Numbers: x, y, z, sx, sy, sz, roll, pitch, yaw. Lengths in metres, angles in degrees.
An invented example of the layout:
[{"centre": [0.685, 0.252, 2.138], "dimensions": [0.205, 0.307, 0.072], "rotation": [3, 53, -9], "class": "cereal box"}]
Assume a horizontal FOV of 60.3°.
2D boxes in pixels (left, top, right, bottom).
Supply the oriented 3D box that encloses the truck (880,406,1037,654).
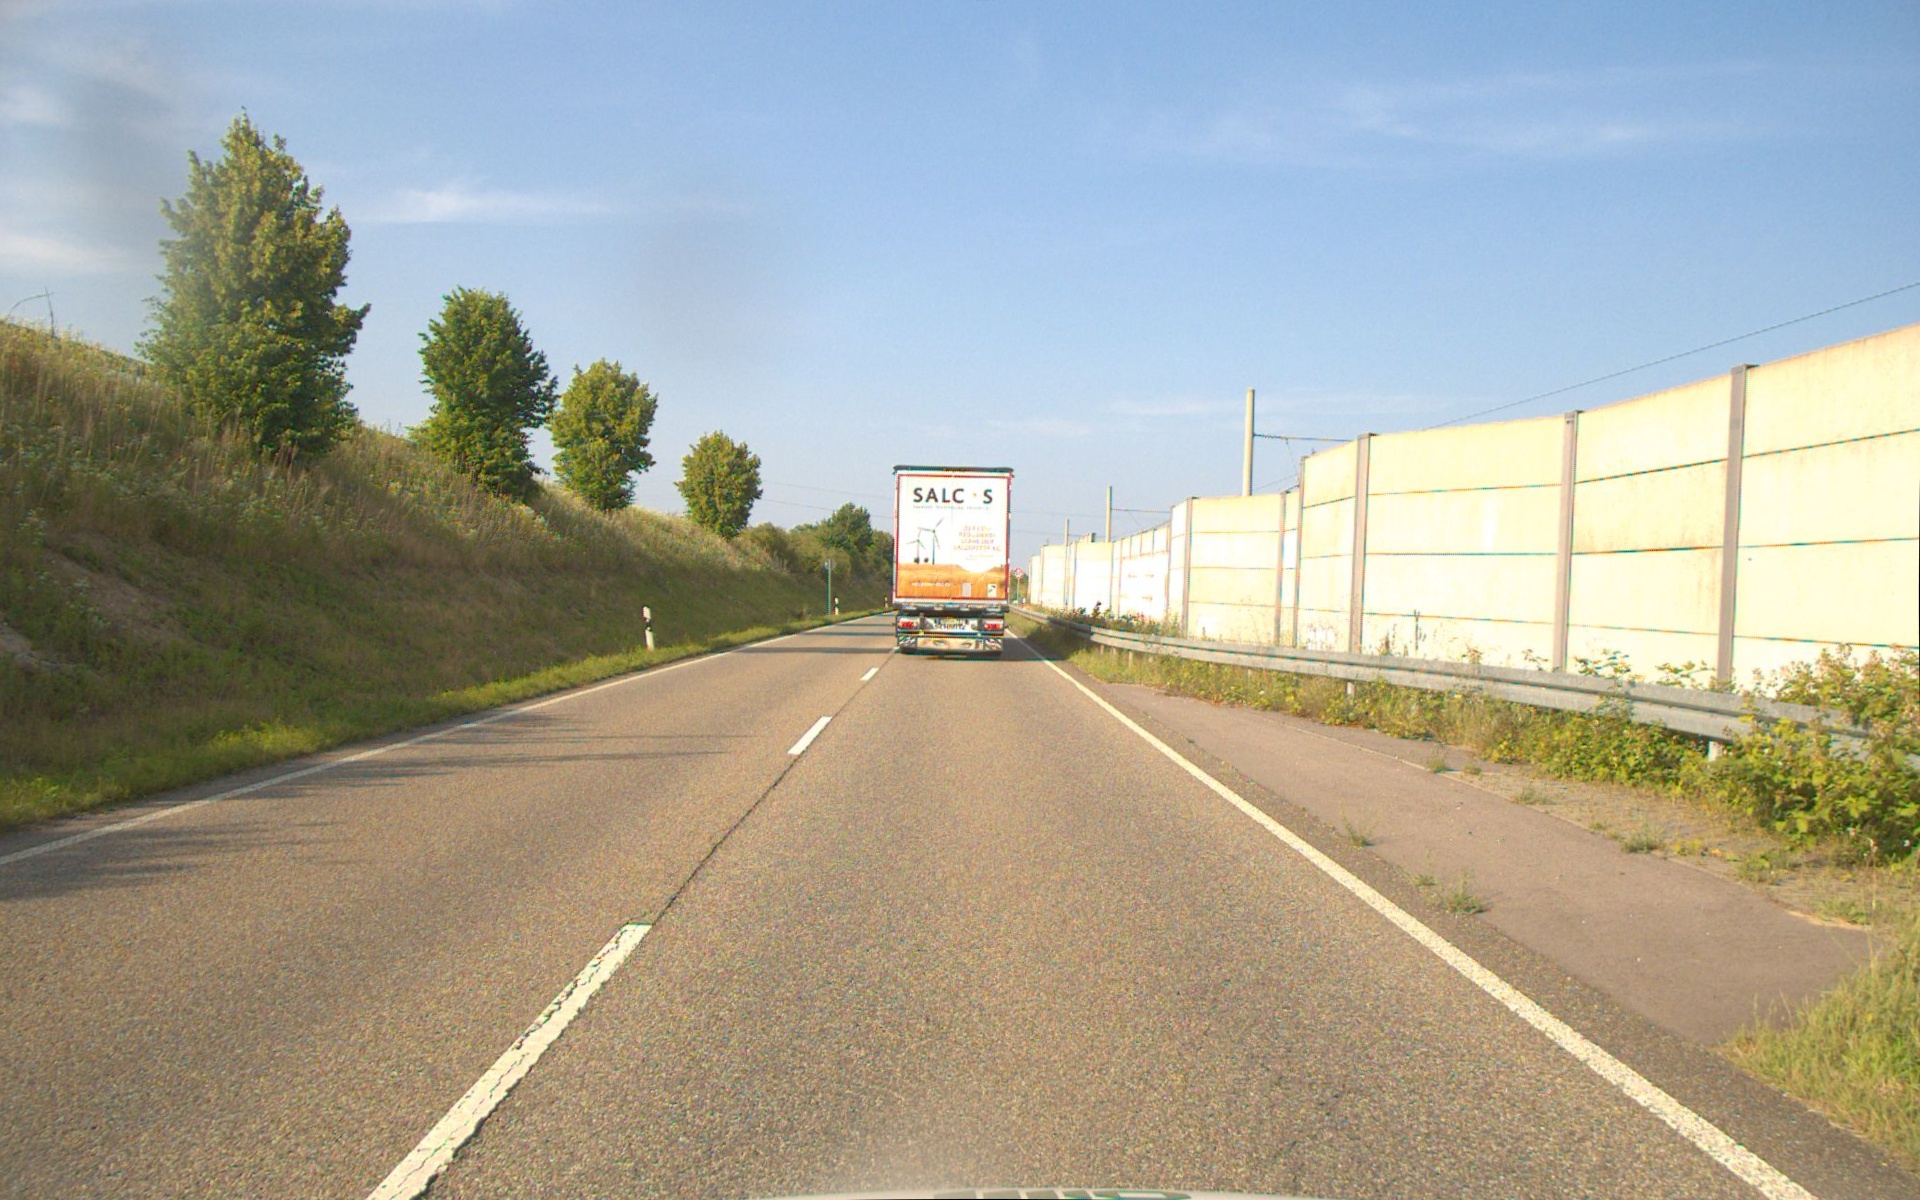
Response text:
[{"centre": [-0.151, -1.532, 41.042], "dimensions": [3.224, 5.179, 12.035], "rotation": [1, 0, -1], "class": "truck"}]
